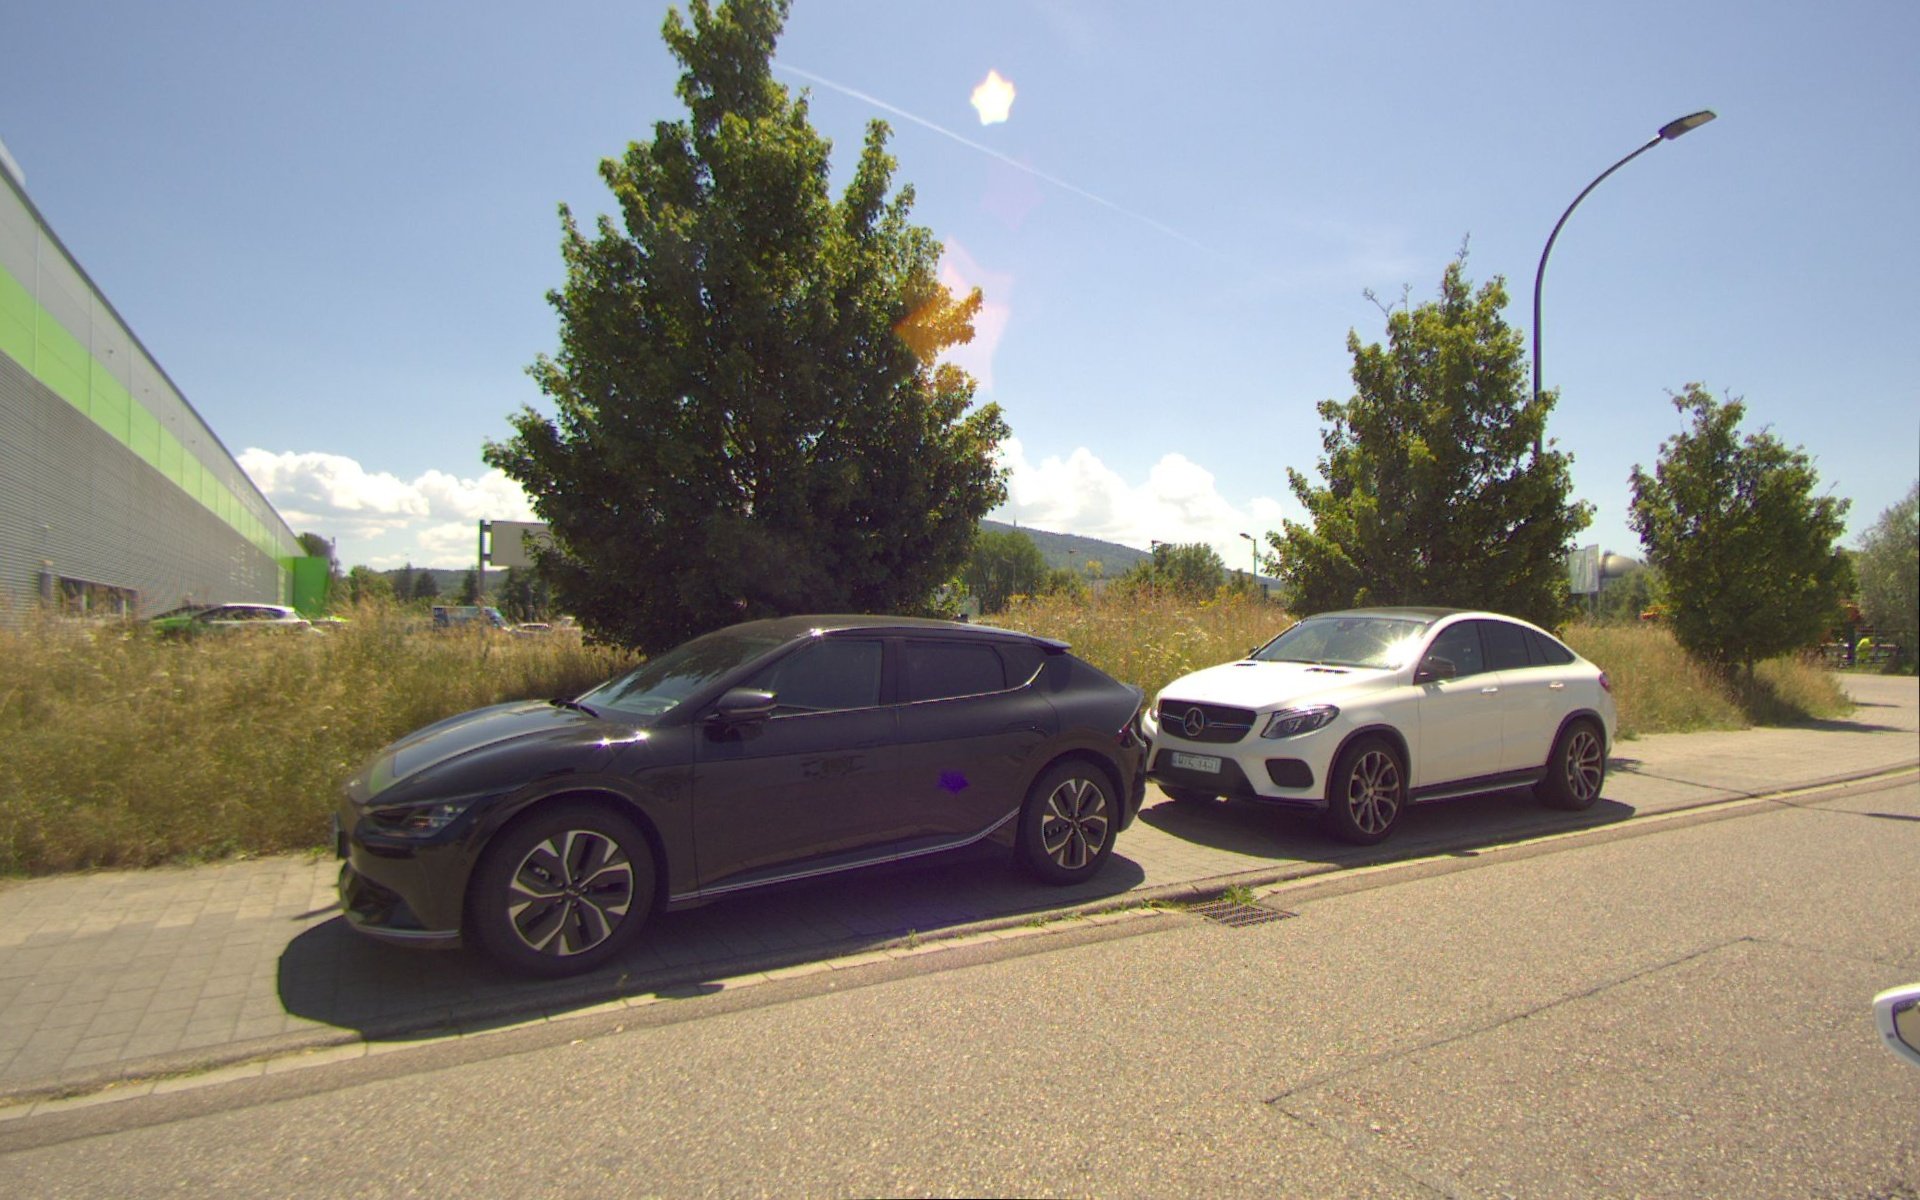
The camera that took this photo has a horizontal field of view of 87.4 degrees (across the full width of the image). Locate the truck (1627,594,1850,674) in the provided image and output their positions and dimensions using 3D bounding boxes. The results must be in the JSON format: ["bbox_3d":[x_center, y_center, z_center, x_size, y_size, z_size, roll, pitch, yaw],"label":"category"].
[{"bbox_3d":[41.323,1.832,53.656,4.121,3.856,8.533,1,-2,-34],"label":"truck"}]

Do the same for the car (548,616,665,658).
[{"bbox_3d":[-13.635,1.403,38.769,3.956,1.565,1.982,1,-1,-33],"label":"car"}]

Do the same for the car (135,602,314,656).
[{"bbox_3d":[-20.820,0.811,28.683,3.956,1.431,1.982,1,-1,-33],"label":"car"}]

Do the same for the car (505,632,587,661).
[{"bbox_3d":[-25.213,2.829,61.191,4.412,1.744,1.986,1,-3,-29],"label":"car"}]

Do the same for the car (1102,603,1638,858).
[{"bbox_3d":[3.659,0.900,8.685,4.701,1.677,1.902,1,0,-32],"label":"car"}]

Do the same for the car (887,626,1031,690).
[{"bbox_3d":[-0.012,1.698,30.469,3.958,1.800,1.982,1,-1,-33],"label":"car"}]

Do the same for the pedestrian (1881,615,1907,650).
[{"bbox_3d":[49.672,1.734,53.425,0.732,1.849,0.871,1,-1,-32],"label":"pedestrian"}]

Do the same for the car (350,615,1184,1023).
[{"bbox_3d":[-0.934,0.870,5.814,4.367,1.511,1.901,1,0,-34],"label":"car"}]
